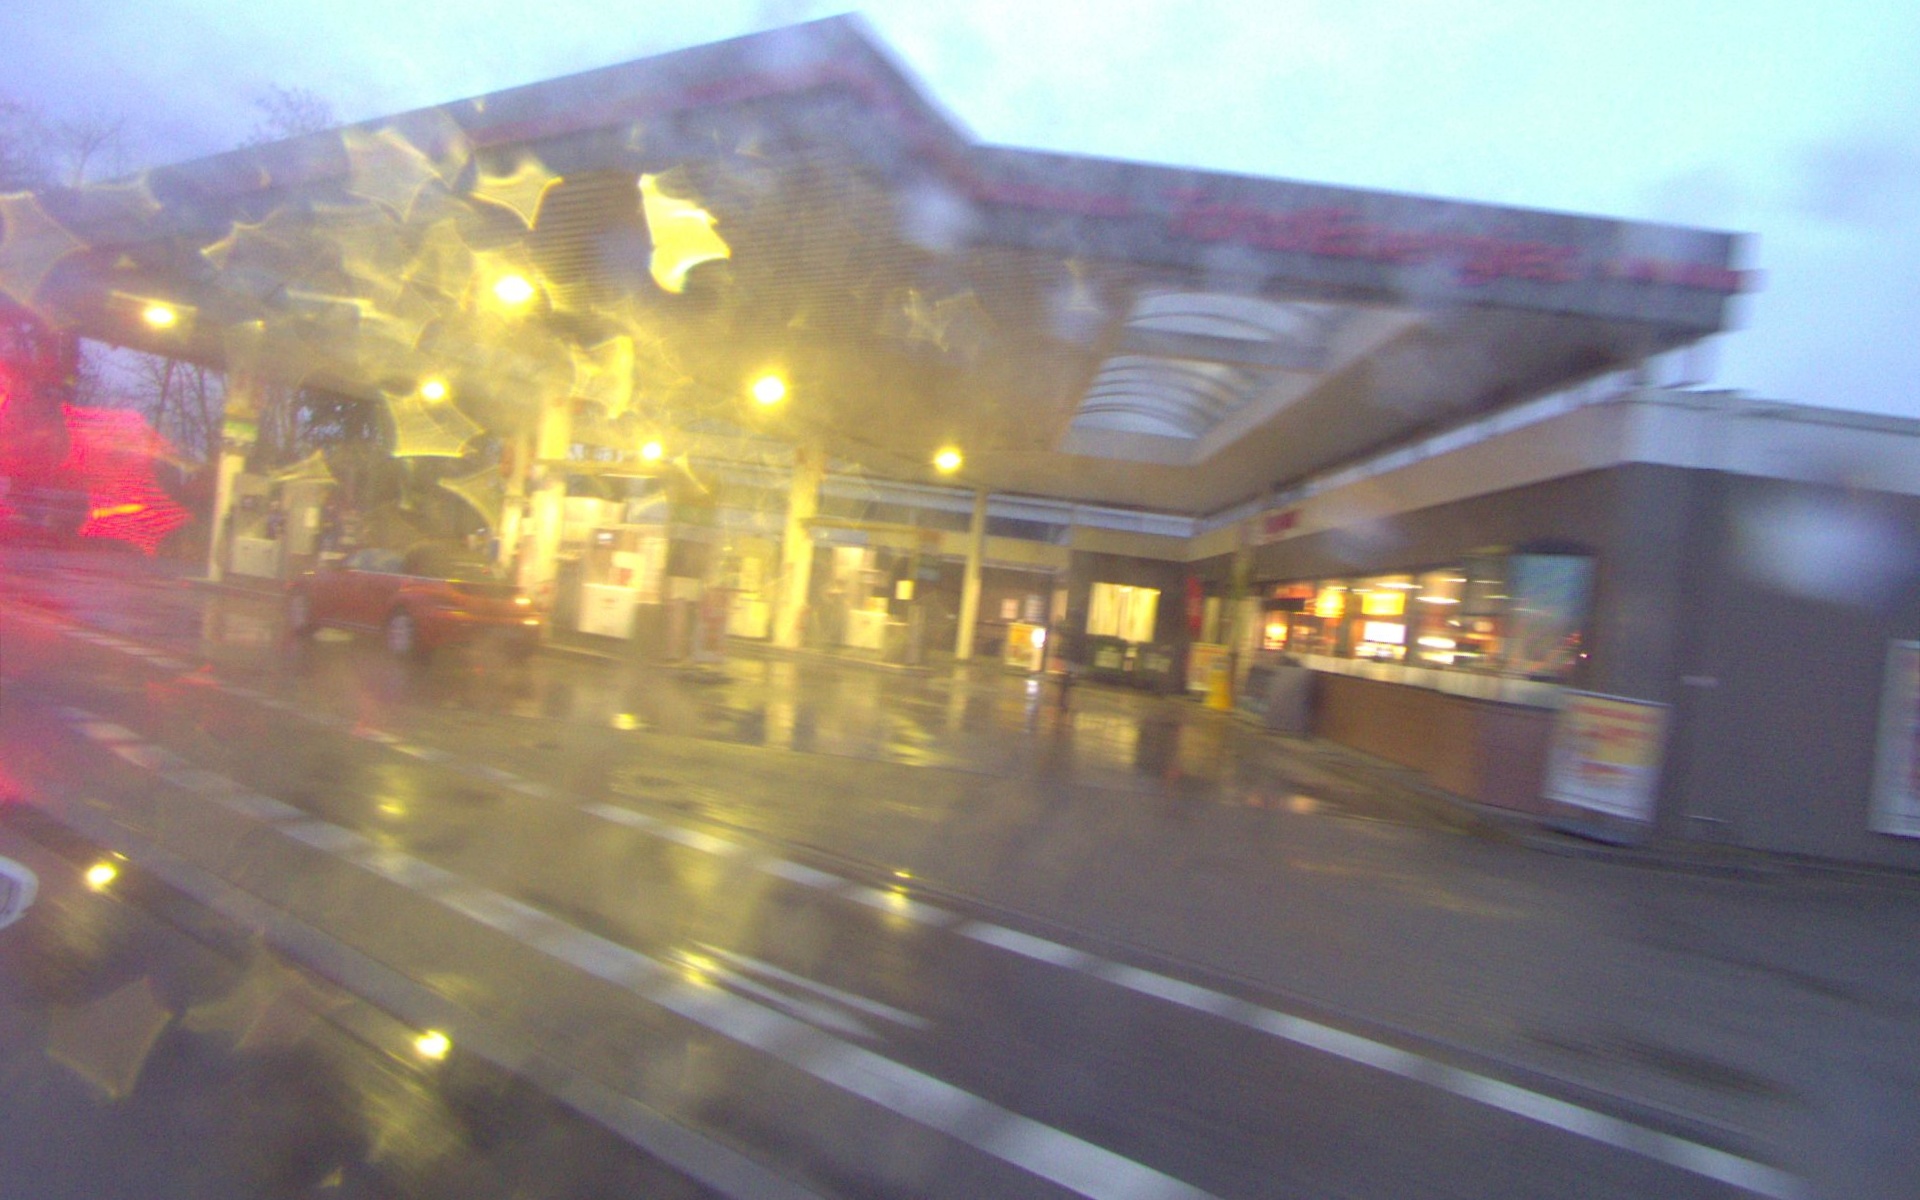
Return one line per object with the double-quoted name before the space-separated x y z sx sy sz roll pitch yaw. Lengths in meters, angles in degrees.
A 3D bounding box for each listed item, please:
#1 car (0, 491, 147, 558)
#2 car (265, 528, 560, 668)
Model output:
"car" -27.836 -2.309 31.314 1.987 1.628 4.473 7 -1 -12
"car" -7.501 -0.055 13.671 4.098 1.414 1.574 7 1 31
